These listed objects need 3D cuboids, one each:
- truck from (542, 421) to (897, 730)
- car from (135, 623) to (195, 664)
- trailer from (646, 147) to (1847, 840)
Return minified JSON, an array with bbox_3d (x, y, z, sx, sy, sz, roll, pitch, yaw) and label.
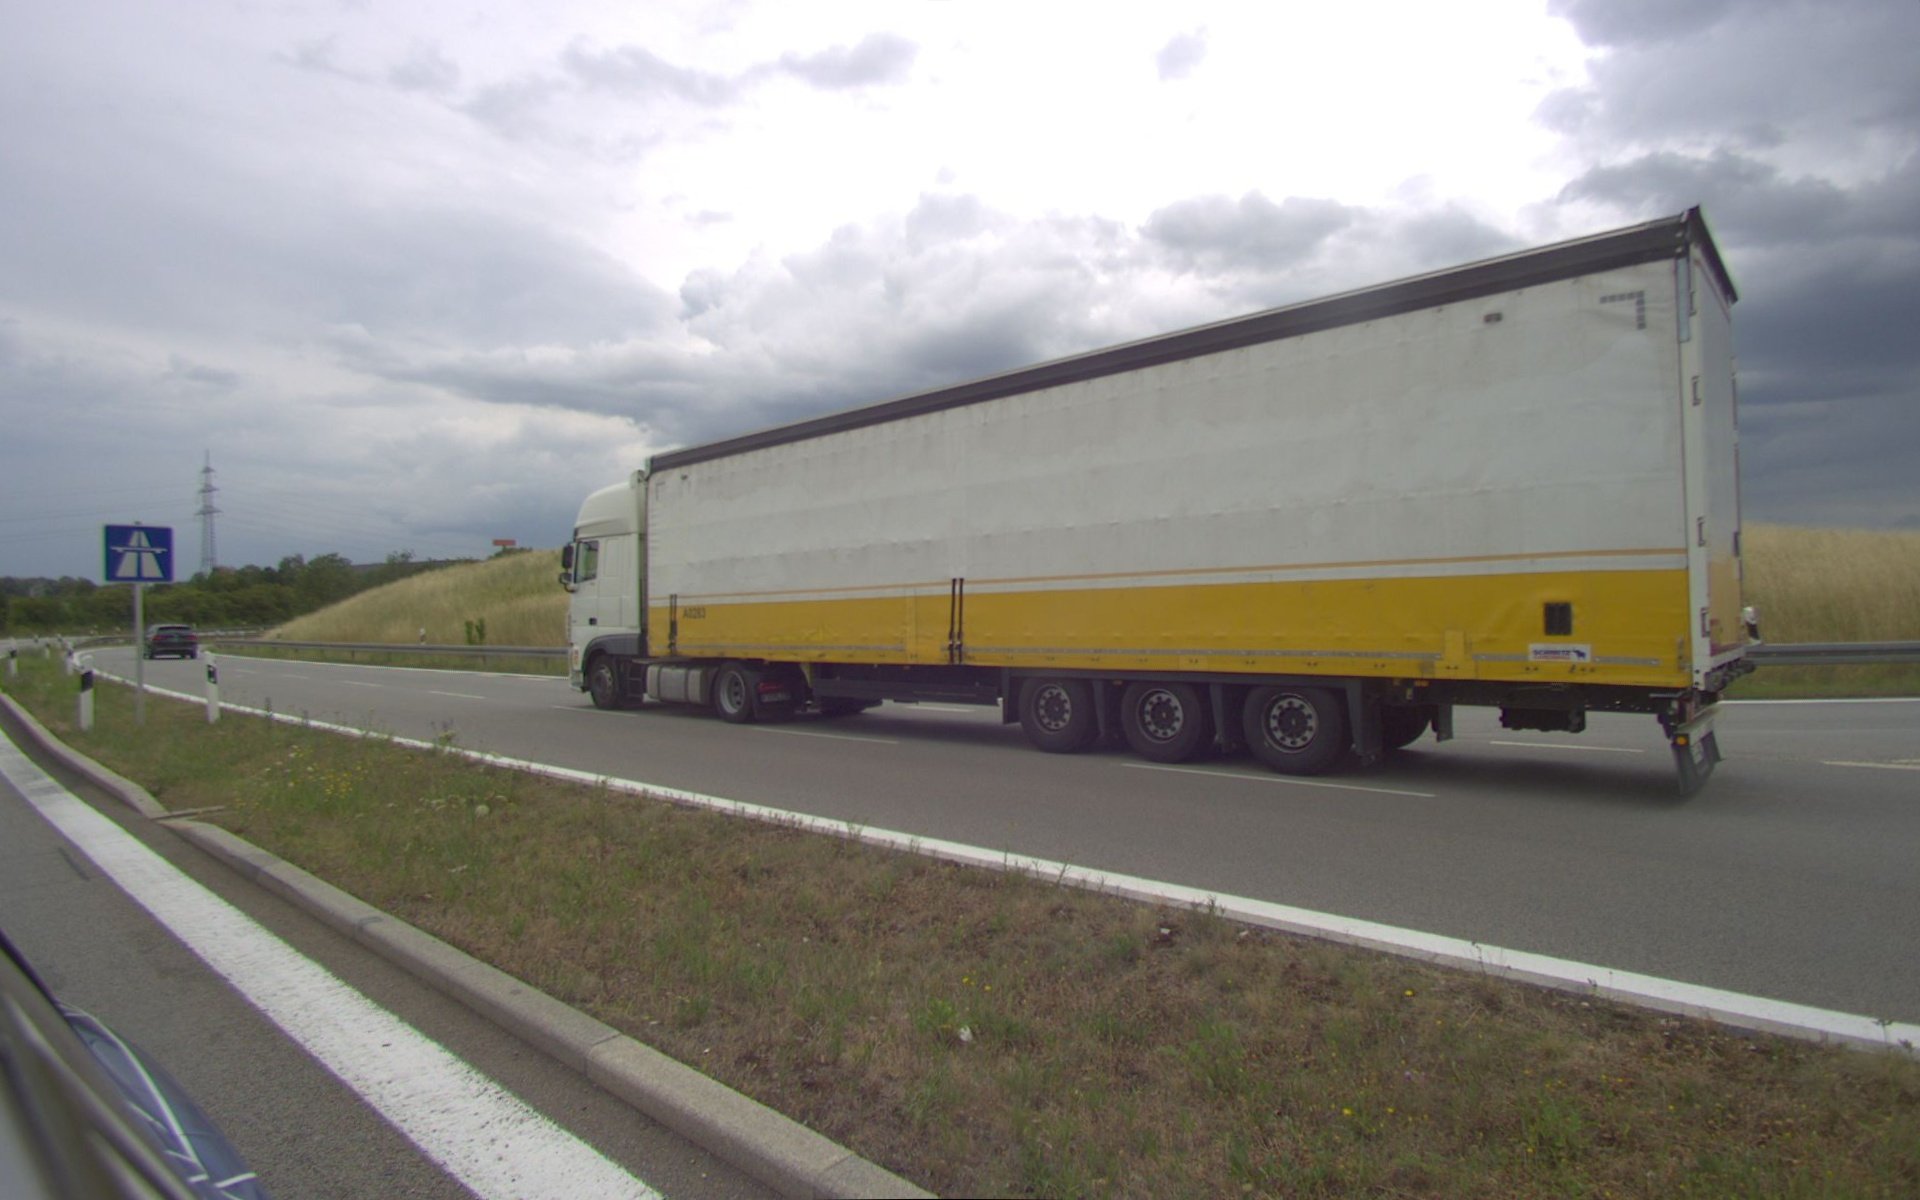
[{"bbox_3d":[-4.210,-0.318,16.815,6.403,4.172,2.621,-1,0,43],"label":"truck"},{"bbox_3d":[-36.876,1.976,46.879,1.969,1.696,4.120,-1,0,-41],"label":"car"},{"bbox_3d":[1.159,-0.604,11.876,13.840,4.242,2.663,-1,0,43],"label":"trailer"}]
